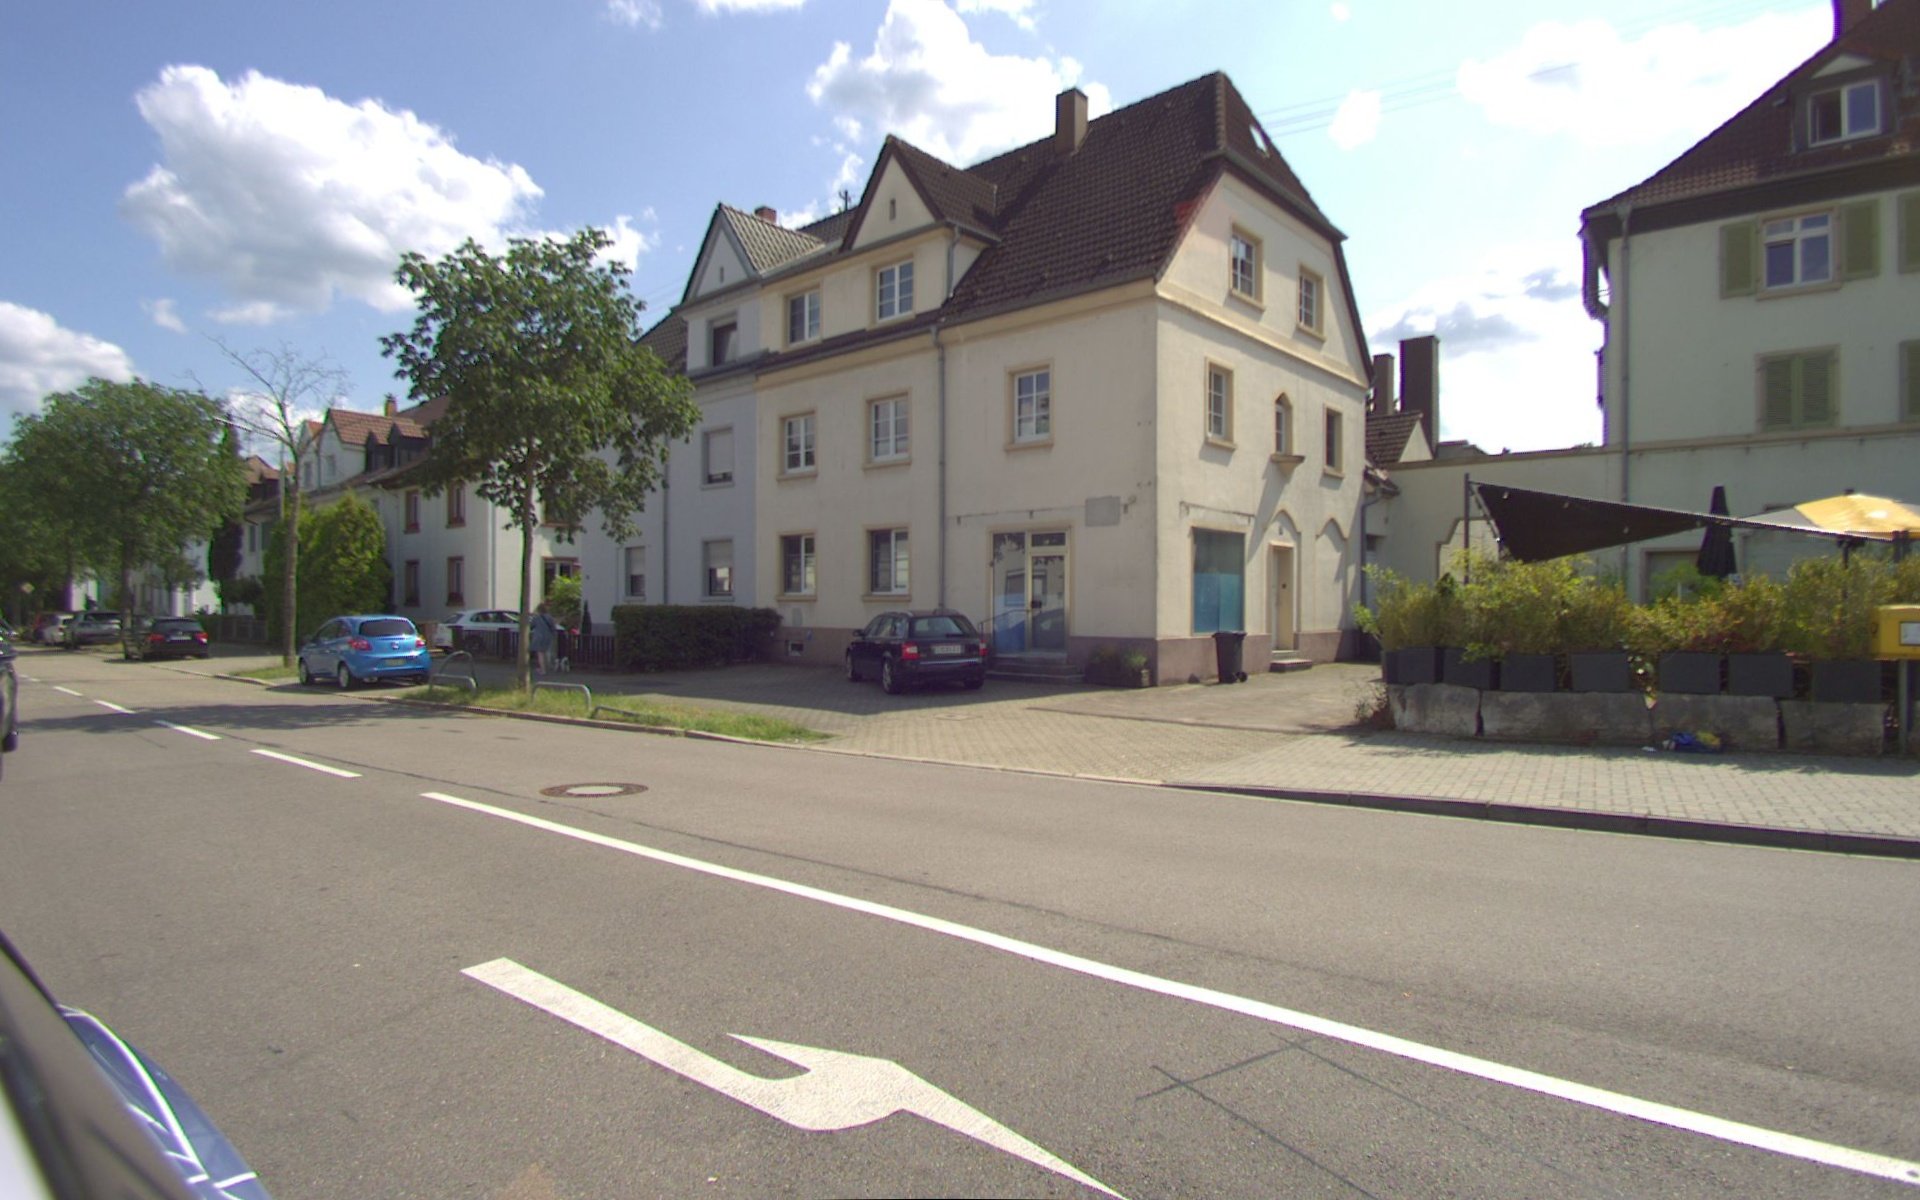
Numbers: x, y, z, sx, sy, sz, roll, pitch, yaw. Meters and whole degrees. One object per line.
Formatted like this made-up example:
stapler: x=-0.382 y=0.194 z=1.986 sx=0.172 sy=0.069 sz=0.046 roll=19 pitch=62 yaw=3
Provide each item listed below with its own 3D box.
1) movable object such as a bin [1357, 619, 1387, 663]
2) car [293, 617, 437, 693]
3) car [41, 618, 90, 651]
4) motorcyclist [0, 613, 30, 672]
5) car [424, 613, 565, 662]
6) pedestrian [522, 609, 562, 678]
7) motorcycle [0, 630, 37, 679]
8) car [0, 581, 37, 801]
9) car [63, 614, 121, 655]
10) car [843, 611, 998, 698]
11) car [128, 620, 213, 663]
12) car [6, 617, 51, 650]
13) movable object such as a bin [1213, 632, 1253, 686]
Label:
movable object such as a bin: x=10.006 y=0.991 z=24.568 sx=0.510 sy=1.053 sz=0.607 roll=-1 pitch=-2 yaw=41
car: x=-12.501 y=1.096 z=21.215 sx=3.153 sy=1.473 sz=1.687 roll=-1 pitch=-1 yaw=41
car: x=-40.859 y=1.560 z=46.195 sx=1.601 sy=1.436 sz=3.004 roll=0 pitch=-1 yaw=-43
motorcyclist: x=-23.557 y=1.054 z=24.892 sx=1.098 sy=1.409 sz=0.815 roll=-4 pitch=-2 yaw=38
car: x=-14.829 y=1.158 z=32.336 sx=1.711 sy=1.465 sz=3.753 roll=-1 pitch=-1 yaw=44
pedestrian: x=-9.520 y=0.975 z=23.068 sx=0.617 sy=1.547 sz=0.624 roll=-1 pitch=-1 yaw=39
motorcycle: x=-23.374 y=1.313 z=24.709 sx=2.355 sy=1.136 sz=0.833 roll=-1 pitch=-1 yaw=38
car: x=-10.027 y=0.764 z=9.327 sx=4.873 sy=1.777 sz=1.753 roll=-1 pitch=-1 yaw=42
car: x=-36.294 y=1.414 z=42.272 sx=3.575 sy=1.667 sz=1.541 roll=-1 pitch=-2 yaw=45
car: x=-0.853 y=0.915 z=18.535 sx=1.732 sy=1.397 sz=4.115 roll=0 pitch=-1 yaw=-19
car: x=-25.823 y=1.322 z=33.070 sx=3.919 sy=1.306 sz=1.686 roll=-1 pitch=-1 yaw=45
car: x=-47.838 y=1.691 z=51.935 sx=3.252 sy=1.667 sz=1.541 roll=-1 pitch=-2 yaw=45
movable object such as a bin: x=5.129 y=1.100 z=19.028 sx=0.510 sy=0.979 sz=0.607 roll=-1 pitch=-2 yaw=41
